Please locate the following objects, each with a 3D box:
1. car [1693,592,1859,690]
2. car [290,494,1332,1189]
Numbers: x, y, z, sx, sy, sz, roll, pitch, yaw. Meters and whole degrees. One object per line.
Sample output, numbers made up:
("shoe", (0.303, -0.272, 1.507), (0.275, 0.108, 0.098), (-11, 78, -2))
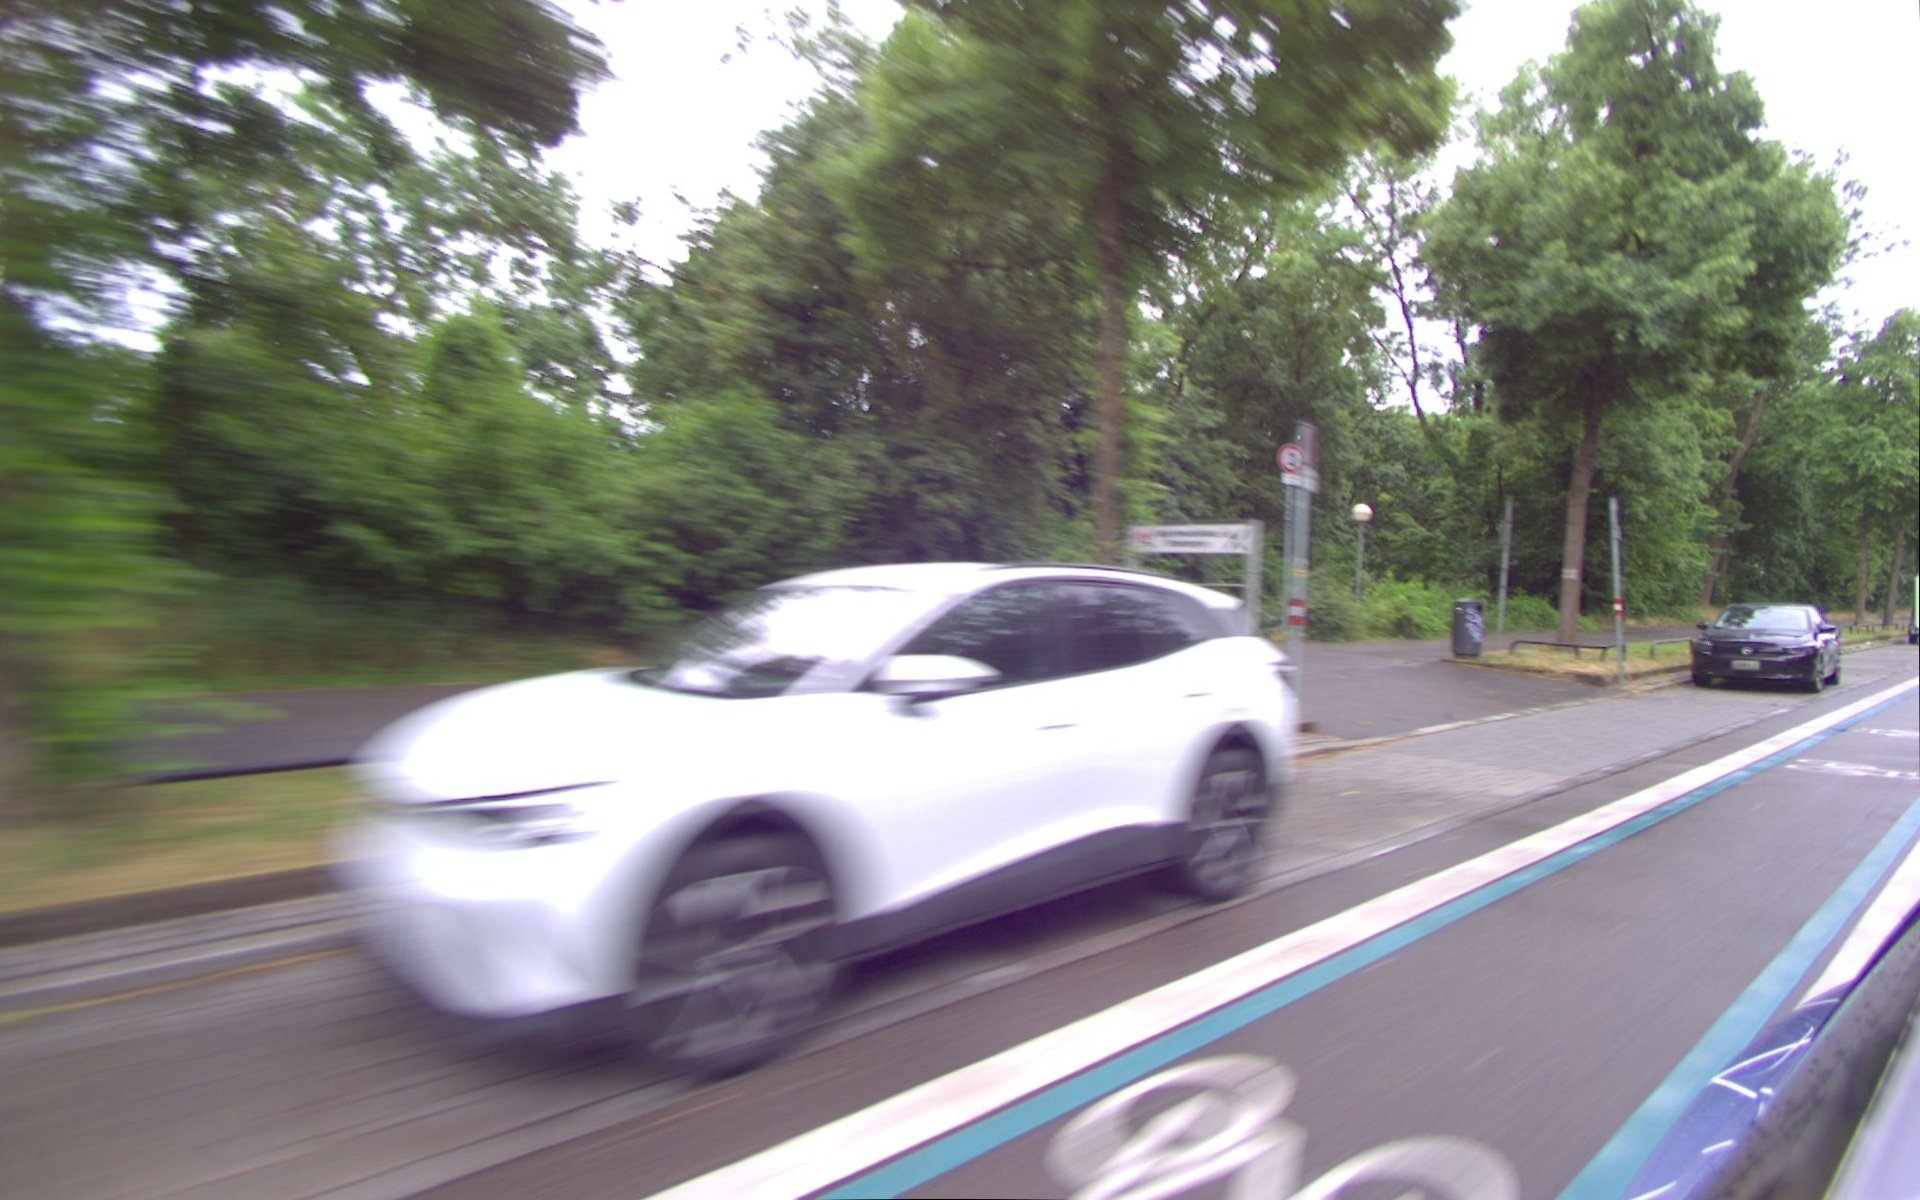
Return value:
("car", (14.282, 0.623, 17.641), (3.930, 1.495, 1.697), (0, 1, -43))
("car", (-0.291, 0.556, 4.720), (4.485, 1.683, 1.996), (0, 1, -43))
